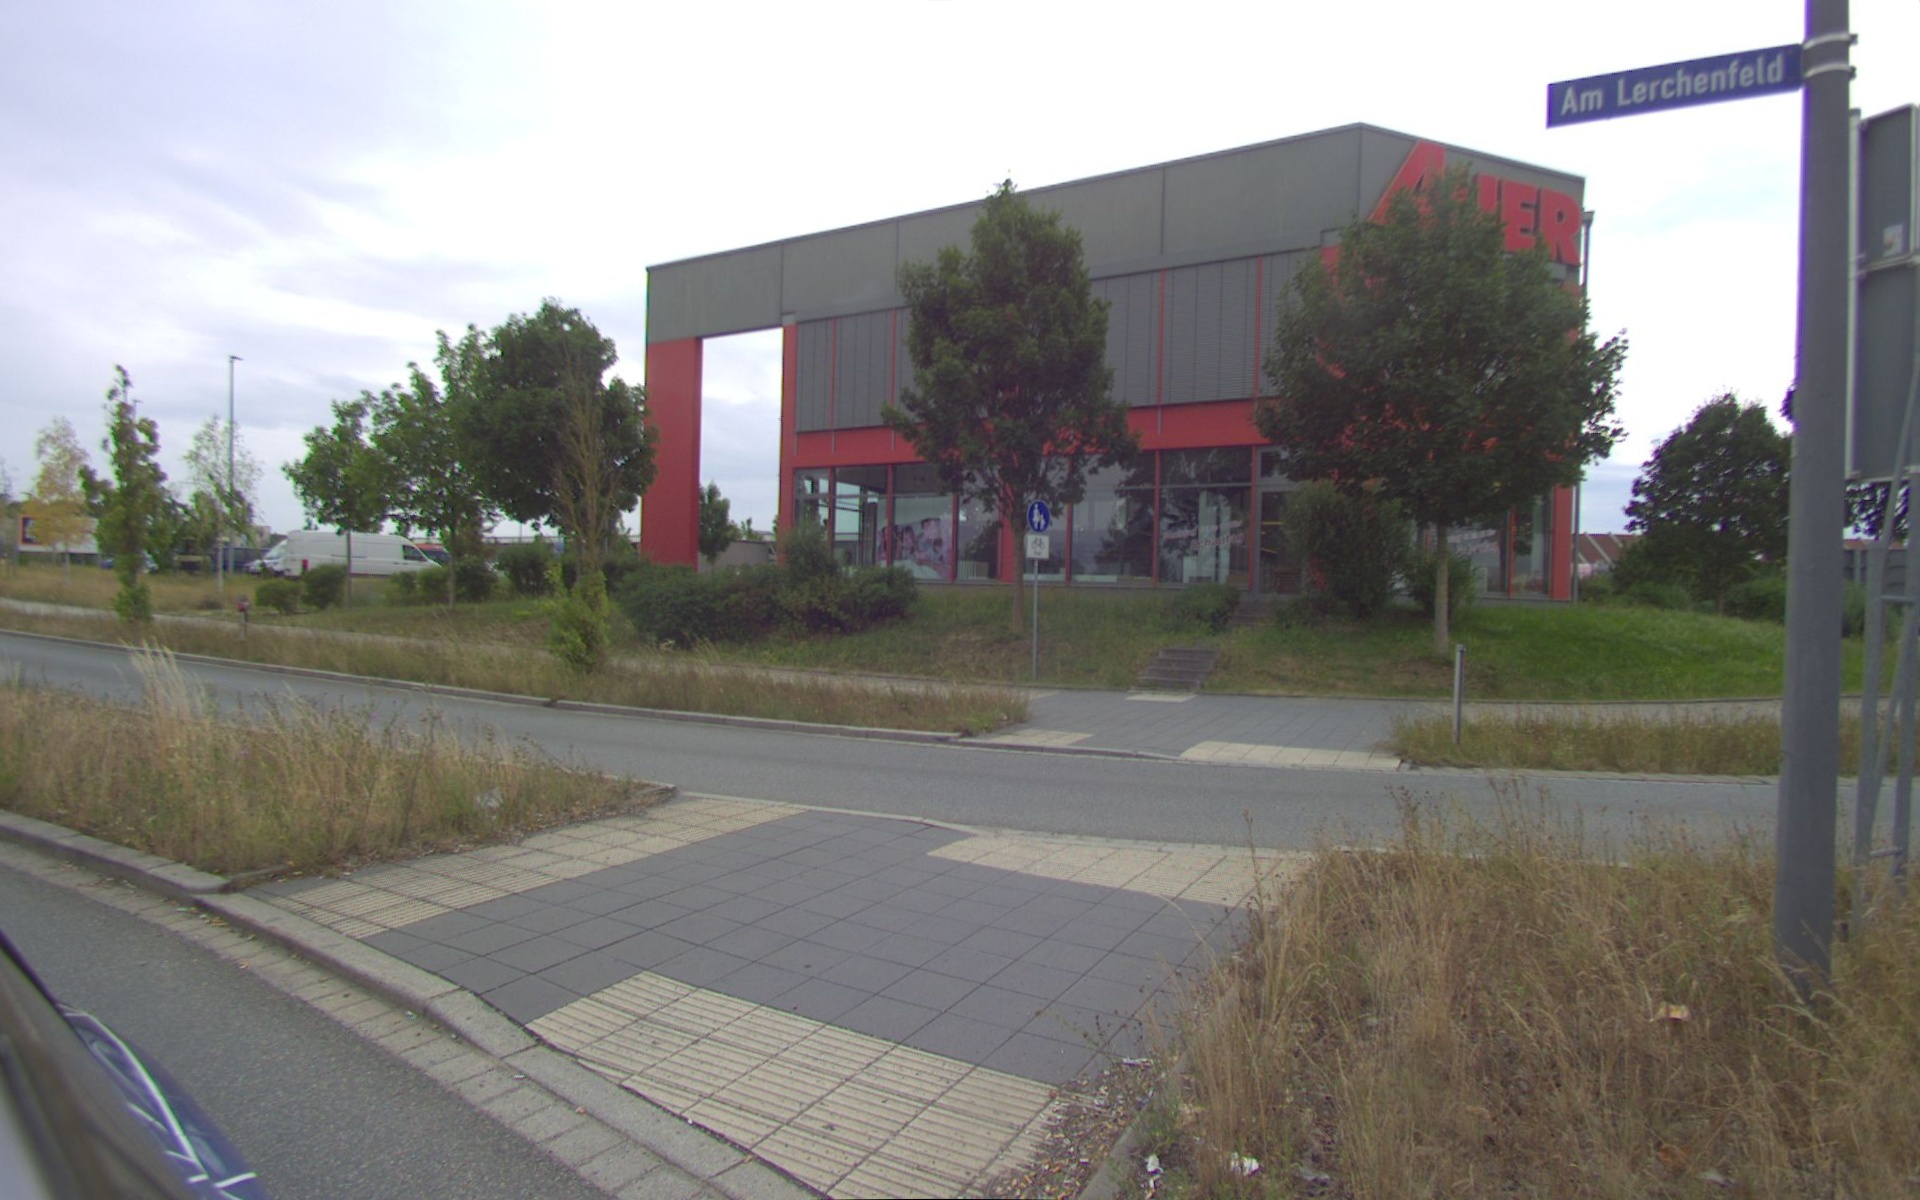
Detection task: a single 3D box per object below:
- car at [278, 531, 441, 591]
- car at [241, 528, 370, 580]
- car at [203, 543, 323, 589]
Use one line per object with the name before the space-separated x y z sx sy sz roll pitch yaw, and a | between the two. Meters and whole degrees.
car | -28.010 -1.795 47.450 2.059 2.643 6.348 3 2 33
car | -32.216 -2.227 49.954 2.056 2.390 5.007 3 2 29
car | -38.026 -1.822 55.302 2.061 2.240 4.995 2 0 36
